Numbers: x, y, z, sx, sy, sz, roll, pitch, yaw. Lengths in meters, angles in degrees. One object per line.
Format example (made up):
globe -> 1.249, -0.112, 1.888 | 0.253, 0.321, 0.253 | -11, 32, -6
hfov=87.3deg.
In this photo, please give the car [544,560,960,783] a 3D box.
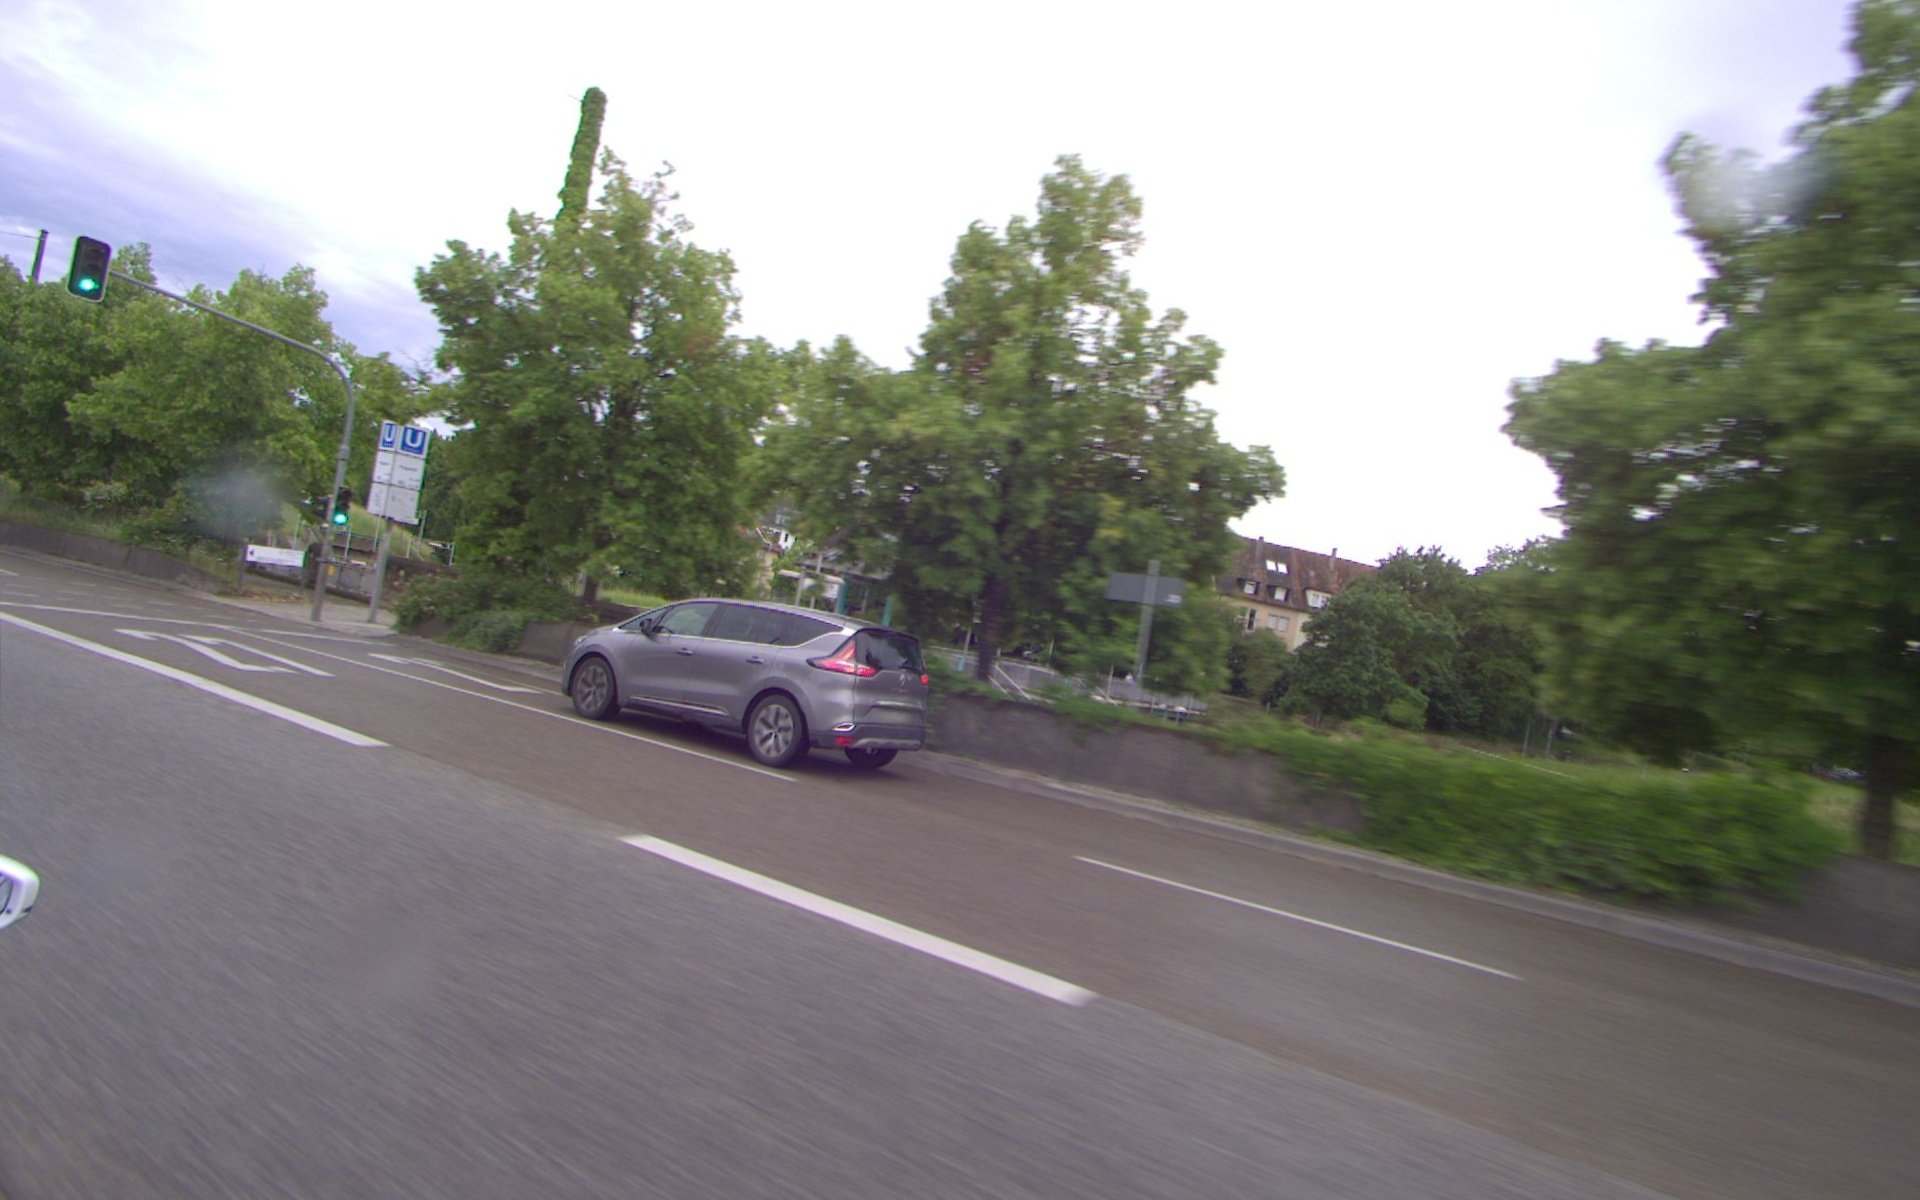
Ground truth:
car -> -2.484, 0.763, 11.602 | 4.547, 1.666, 1.731 | 9, -3, 31
